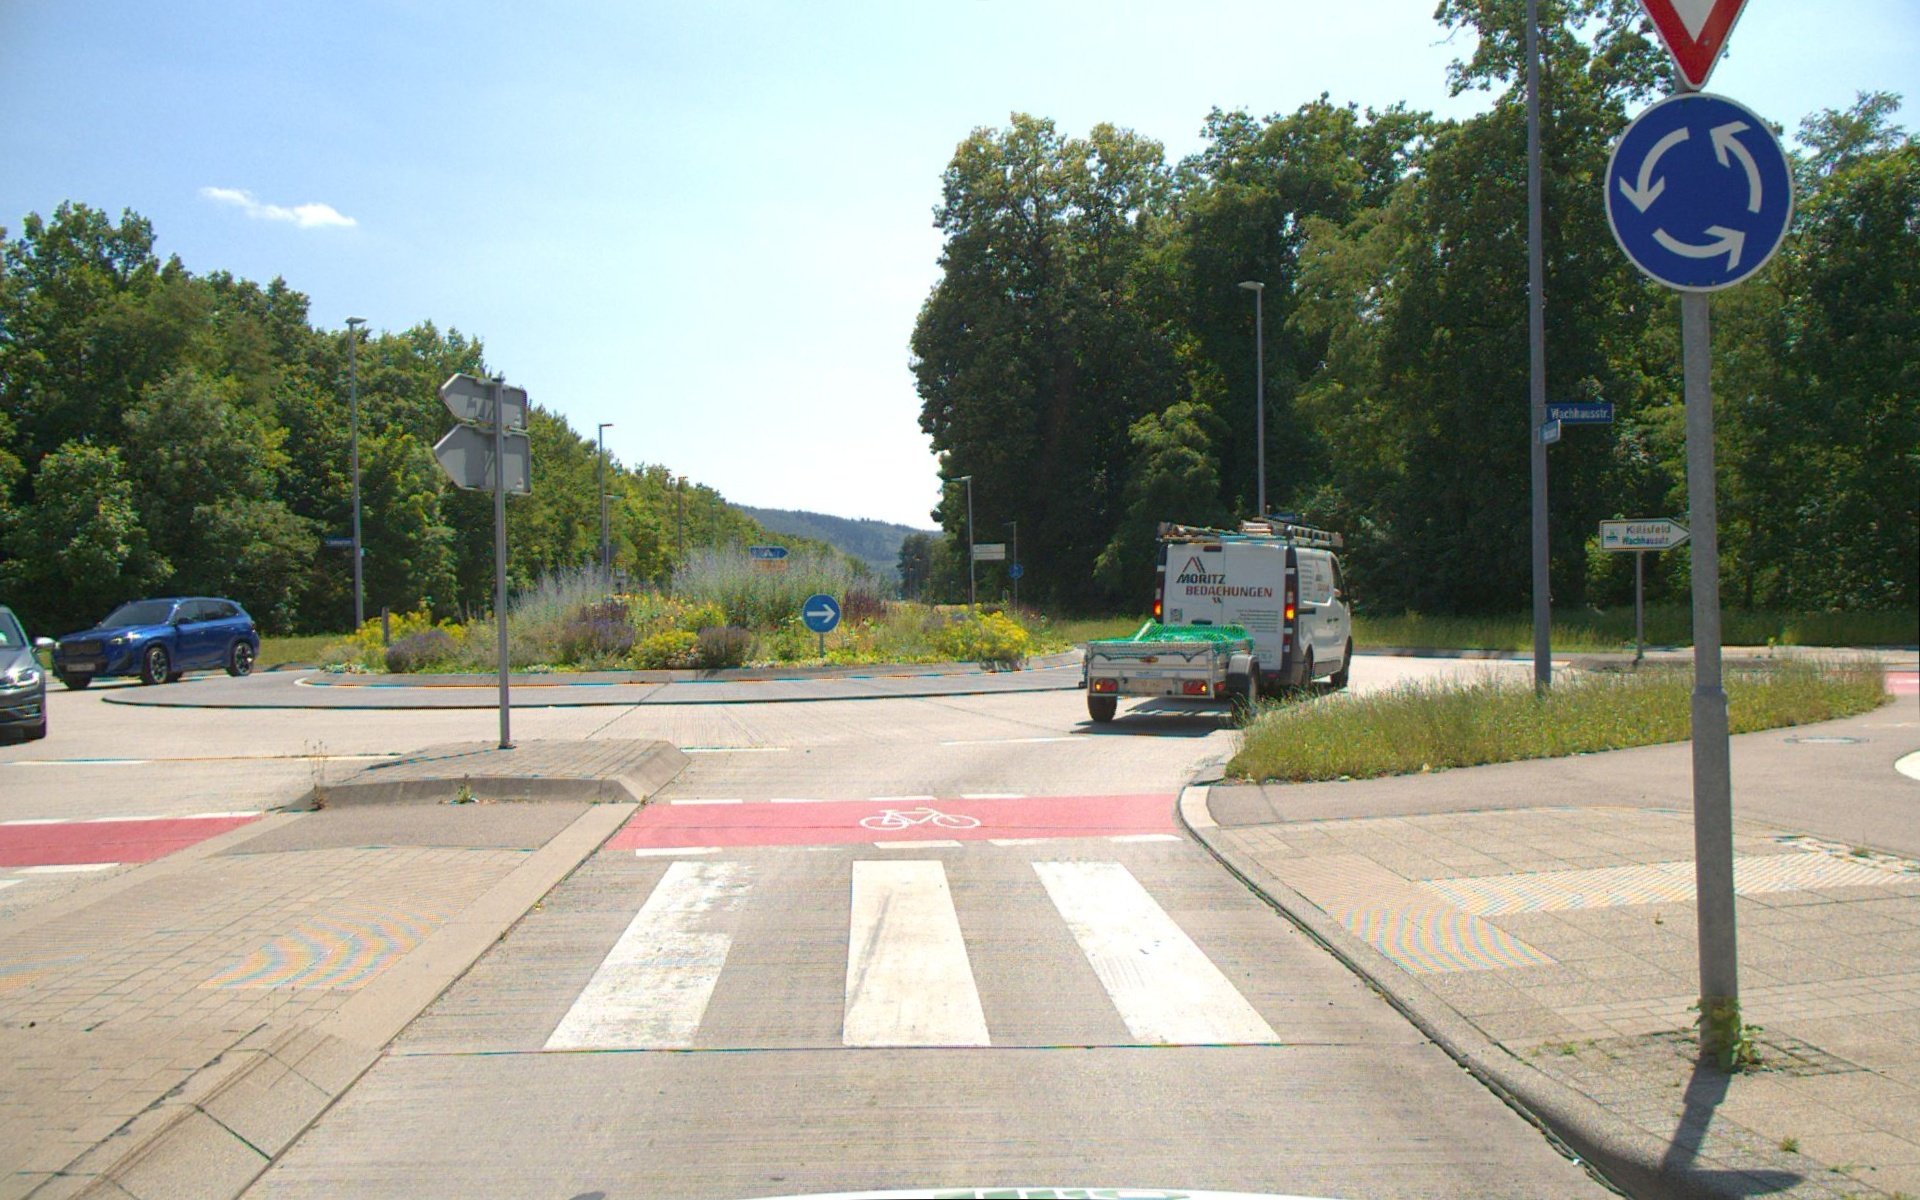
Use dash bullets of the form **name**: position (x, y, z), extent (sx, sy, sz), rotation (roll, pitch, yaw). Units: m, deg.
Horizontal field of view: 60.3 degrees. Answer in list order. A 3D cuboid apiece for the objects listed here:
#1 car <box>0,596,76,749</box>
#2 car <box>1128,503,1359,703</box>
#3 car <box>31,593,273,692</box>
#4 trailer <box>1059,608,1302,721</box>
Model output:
- **car**: position (-10.956, 0.774, 18.224), extent (1.970, 1.504, 4.251), rotation (-3, 1, -27)
- **car**: position (3.929, 0.056, 22.168), extent (2.121, 2.357, 4.981), rotation (0, -1, 21)
- **car**: position (-15.481, 0.769, 31.988), extent (1.951, 1.623, 4.327), rotation (-2, 2, 11)
- **trailer**: position (2.531, 0.659, 18.292), extent (2.077, 1.116, 3.356), rotation (0, -1, 18)
